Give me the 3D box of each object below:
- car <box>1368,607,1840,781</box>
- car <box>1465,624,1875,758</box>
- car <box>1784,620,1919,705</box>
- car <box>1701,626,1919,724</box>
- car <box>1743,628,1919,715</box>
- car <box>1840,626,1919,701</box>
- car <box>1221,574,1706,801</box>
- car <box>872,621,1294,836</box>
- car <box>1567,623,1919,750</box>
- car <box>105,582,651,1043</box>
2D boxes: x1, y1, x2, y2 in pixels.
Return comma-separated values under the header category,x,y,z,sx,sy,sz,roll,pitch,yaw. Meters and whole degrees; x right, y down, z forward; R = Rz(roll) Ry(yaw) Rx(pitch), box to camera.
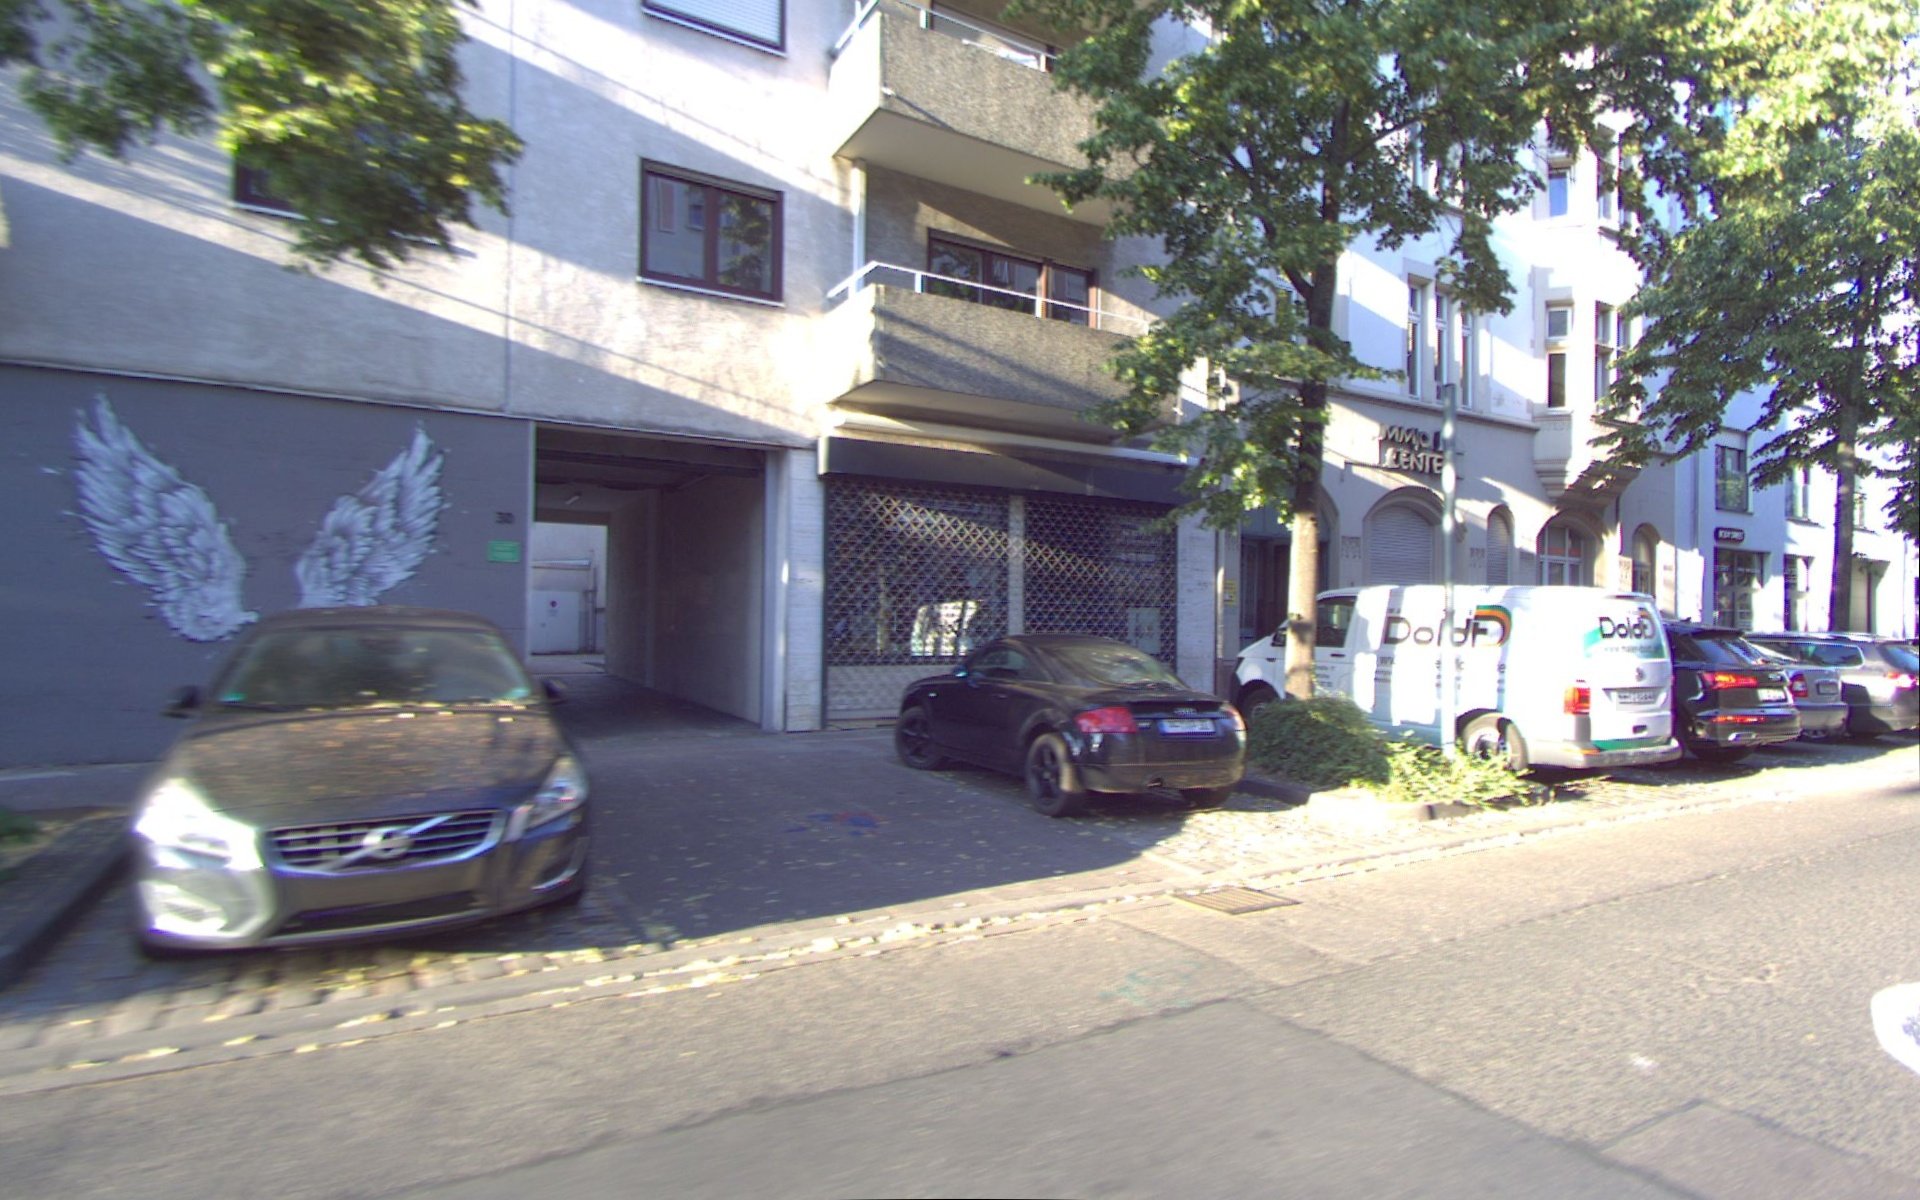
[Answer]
category,x,y,z,sx,sy,sz,roll,pitch,yaw
car,7.692,0.981,12.537,2.035,1.720,4.552,2,-1,-29
car,9.707,1.142,14.168,1.758,1.486,4.423,2,-1,-29
car,19.839,1.276,20.430,1.837,1.660,4.423,2,-1,-29
car,15.793,1.267,17.410,1.787,1.504,4.423,2,-1,-29
car,17.649,1.329,18.759,1.837,1.478,4.423,2,-1,-29
car,21.861,1.400,21.322,1.896,1.589,4.423,2,-1,-29
car,5.289,0.797,11.261,1.967,1.988,4.550,2,-1,-30
car,0.853,0.962,9.062,2.017,1.410,3.778,3,-1,-26
car,11.907,1.173,15.145,1.822,1.526,4.423,2,-1,-29
car,-3.256,0.748,5.831,1.790,1.562,4.524,2,-1,-30
